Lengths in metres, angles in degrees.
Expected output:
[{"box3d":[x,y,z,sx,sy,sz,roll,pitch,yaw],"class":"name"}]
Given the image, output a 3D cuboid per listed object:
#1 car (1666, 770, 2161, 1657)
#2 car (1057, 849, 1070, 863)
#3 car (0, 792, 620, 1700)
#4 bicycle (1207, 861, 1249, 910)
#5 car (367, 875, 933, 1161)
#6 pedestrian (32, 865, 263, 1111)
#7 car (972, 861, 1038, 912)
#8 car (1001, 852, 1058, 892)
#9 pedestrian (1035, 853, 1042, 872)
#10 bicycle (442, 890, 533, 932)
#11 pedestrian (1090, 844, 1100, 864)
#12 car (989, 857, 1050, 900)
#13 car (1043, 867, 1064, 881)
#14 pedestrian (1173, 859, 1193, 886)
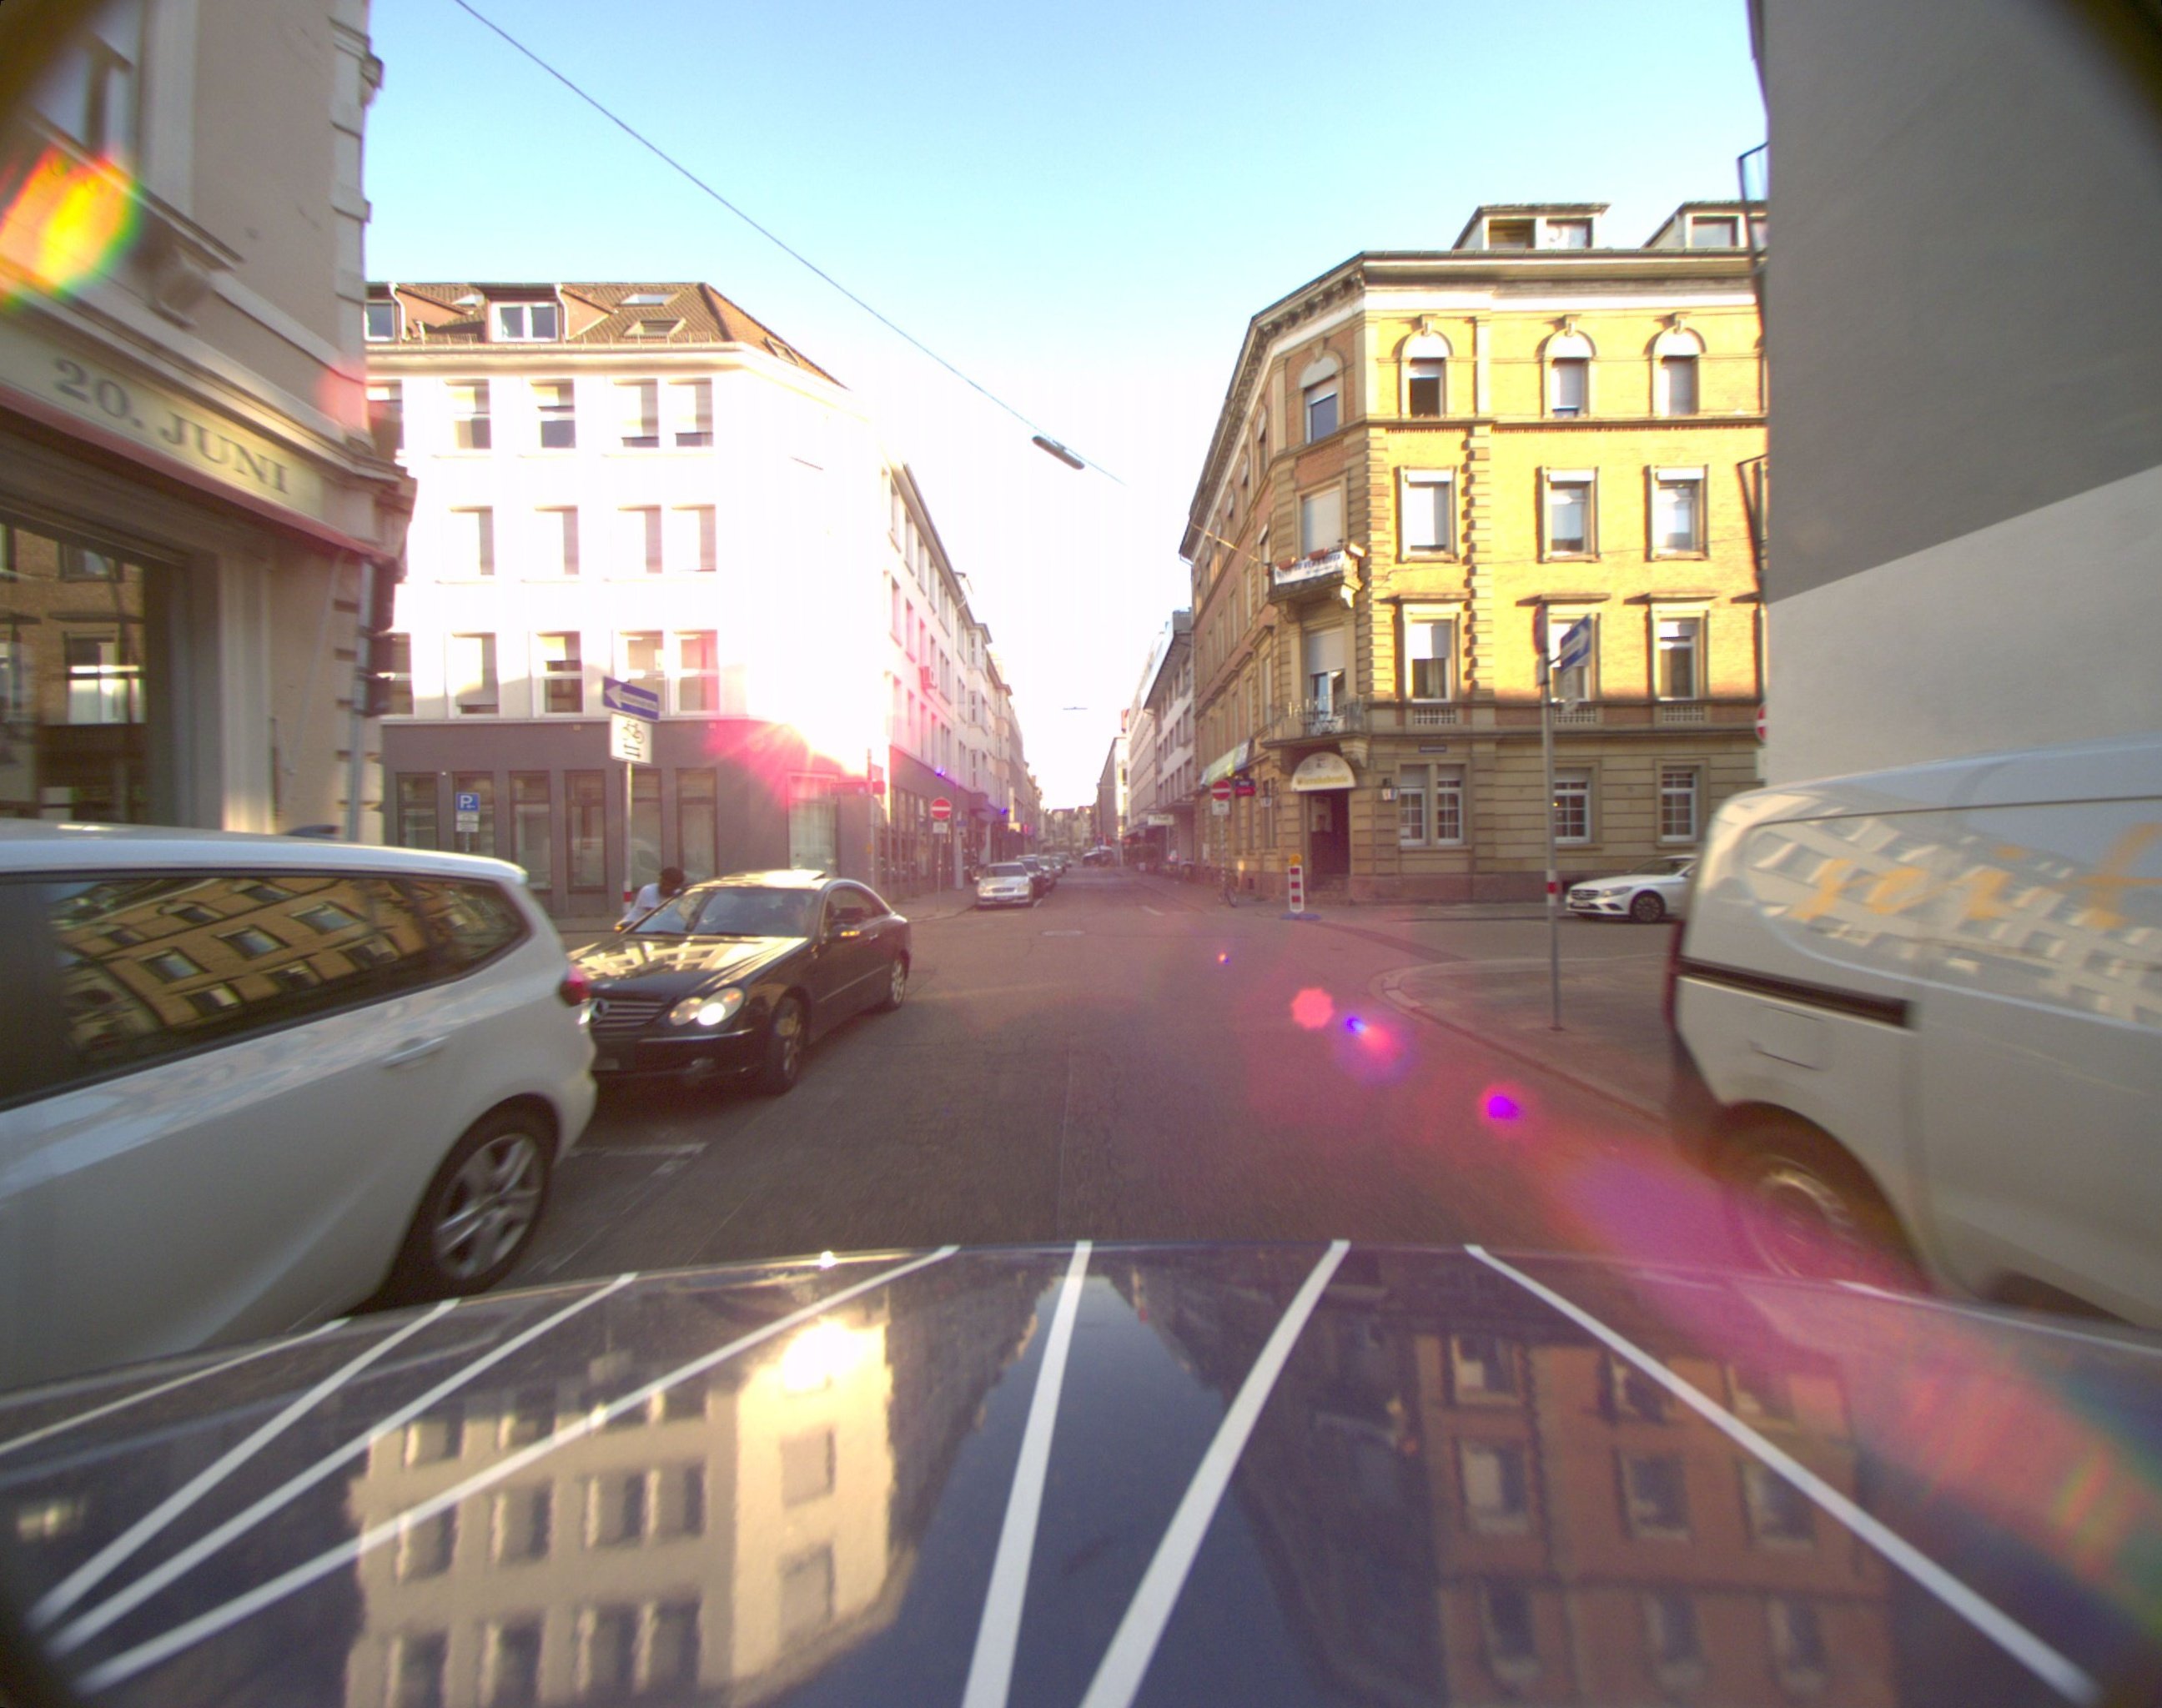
[{"box3d":[3.015,0.718,0.729,1.635,1.803,4.185,-1,0,-1],"class":"car"},{"box3d":[-2.660,0.298,115.503,1.999,2.002,3.999,-1,1,-2],"class":"car"},{"box3d":[-2.965,0.750,1.100,1.821,1.713,4.461,-1,0,1],"class":"car"},{"box3d":[4.151,0.869,21.622,0.660,1.268,1.763,-4,0,-4],"class":"bicycle"},{"box3d":[-2.776,0.947,6.412,1.888,1.400,4.730,-1,0,3],"class":"car"},{"box3d":[-5.920,0.810,4.857,0.716,1.463,0.580,-1,1,0],"class":"pedestrian"},{"box3d":[-2.316,0.957,24.121,1.755,1.393,4.488,-2,0,-2],"class":"car"},{"box3d":[-2.310,0.796,35.435,2.335,1.734,4.487,-1,0,0],"class":"car"},{"box3d":[-4.857,0.940,86.287,0.727,2.078,0.804,-1,0,-7],"class":"pedestrian"},{"box3d":[-13.884,1.328,17.793,1.642,0.900,0.598,-1,0,0],"class":"bicycle"},{"box3d":[1.928,0.042,101.630,1.247,2.599,1.467,-1,1,-1],"class":"pedestrian"},{"box3d":[-2.331,0.898,29.689,2.013,1.515,4.117,-1,0,0],"class":"car"},{"box3d":[-2.219,1.596,61.788,1.514,1.053,3.467,-1,0,0],"class":"car"},{"box3d":[5.129,0.940,38.164,0.836,1.332,0.806,0,1,20],"class":"pedestrian"}]
